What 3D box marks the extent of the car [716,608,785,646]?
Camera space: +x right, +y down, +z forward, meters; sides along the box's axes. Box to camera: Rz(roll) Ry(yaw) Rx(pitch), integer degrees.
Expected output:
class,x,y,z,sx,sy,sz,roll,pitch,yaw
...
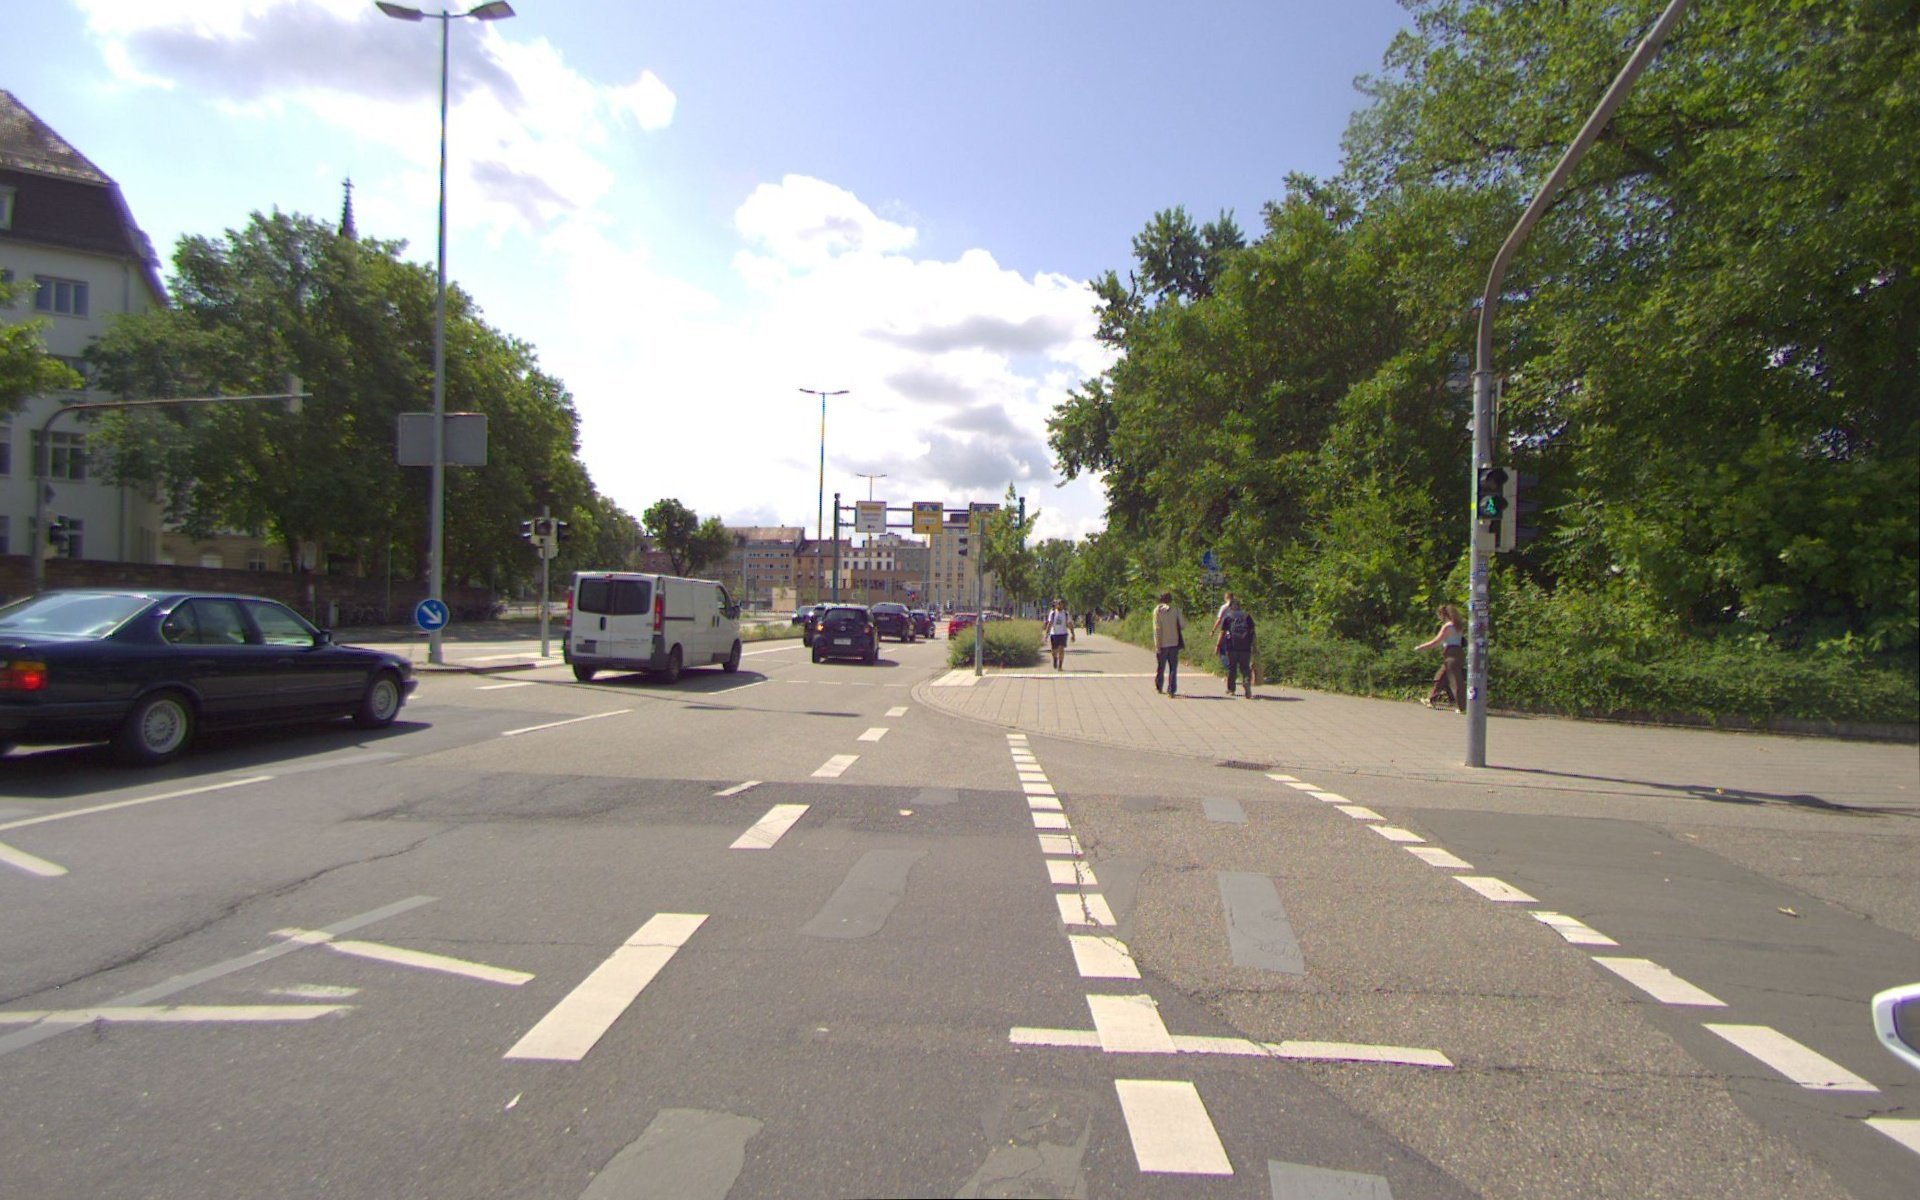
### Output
class,x,y,z,sx,sy,sz,roll,pitch,yaw
car,-8.808,1.134,42.518,1.718,1.491,3.807,2,-1,6

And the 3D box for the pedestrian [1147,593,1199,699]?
class,x,y,z,sx,sy,sz,roll,pitch,yaw
pedestrian,3.641,0.754,17.203,0.781,1.727,1.183,2,0,11

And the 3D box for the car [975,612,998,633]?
class,x,y,z,sx,sy,sz,roll,pitch,yaw
car,1.983,1.636,74.769,1.584,1.430,3.518,3,0,3

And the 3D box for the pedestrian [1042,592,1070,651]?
class,x,y,z,sx,sy,sz,roll,pitch,yaw
pedestrian,3.148,0.715,33.133,0.824,1.893,1.019,1,0,1

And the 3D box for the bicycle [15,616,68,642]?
class,x,y,z,sx,sy,sz,roll,pitch,yaw
bicycle,-25.940,0.824,28.387,0.994,0.691,0.406,3,-1,-25

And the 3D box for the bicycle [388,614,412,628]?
class,x,y,z,sx,sy,sz,roll,pitch,yaw
bicycle,-28.264,1.063,50.721,0.999,0.691,0.404,4,-1,-38

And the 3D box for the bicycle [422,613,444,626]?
class,x,y,z,sx,sy,sz,roll,pitch,yaw
bicycle,-29.260,1.094,55.813,0.999,0.691,0.404,4,-1,-38

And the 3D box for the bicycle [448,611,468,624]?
class,x,y,z,sx,sy,sz,roll,pitch,yaw
bicycle,-30.202,1.061,60.418,0.999,0.691,0.404,4,-1,-38

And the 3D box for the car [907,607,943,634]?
class,x,y,z,sx,sy,sz,roll,pitch,yaw
car,-1.865,1.079,54.217,1.584,1.343,3.518,2,0,3

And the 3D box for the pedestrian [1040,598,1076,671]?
class,x,y,z,sx,sy,sz,roll,pitch,yaw
pedestrian,2.358,0.823,24.317,0.837,1.723,0.932,0,-1,3

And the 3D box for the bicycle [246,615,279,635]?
class,x,y,z,sx,sy,sz,roll,pitch,yaw
bicycle,-26.548,0.951,38.218,0.999,0.691,0.404,4,-1,-38

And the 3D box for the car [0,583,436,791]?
class,x,y,z,sx,sy,sz,roll,pitch,yaw
car,-7.015,0.602,9.240,1.663,1.405,4.616,2,0,4

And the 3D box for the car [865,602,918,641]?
class,x,y,z,sx,sy,sz,roll,pitch,yaw
car,-3.043,0.956,45.358,1.796,1.622,4.395,2,-1,3

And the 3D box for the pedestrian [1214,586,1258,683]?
class,x,y,z,sx,sy,sz,roll,pitch,yaw
pedestrian,5.418,0.670,19.743,0.659,1.845,0.703,2,1,3

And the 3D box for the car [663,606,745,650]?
class,x,y,z,sx,sy,sz,roll,pitch,yaw
car,-9.404,1.020,37.203,1.718,1.491,3.807,2,-1,6

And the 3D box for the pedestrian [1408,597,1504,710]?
class,x,y,z,sx,sy,sz,roll,pitch,yaw
pedestrian,7.589,0.782,15.400,0.844,1.648,1.016,0,1,-19

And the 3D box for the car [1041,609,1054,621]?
class,x,y,z,sx,sy,sz,roll,pitch,yaw
car,14.766,2.579,169.631,1.911,1.989,3.953,3,-1,7

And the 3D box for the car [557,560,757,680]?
class,x,y,z,sx,sy,sz,roll,pitch,yaw
car,-5.773,0.368,19.968,1.972,1.981,5.196,3,0,4

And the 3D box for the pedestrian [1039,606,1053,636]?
class,x,y,z,sx,sy,sz,roll,pitch,yaw
pedestrian,5.857,1.408,68.450,0.824,1.995,0.861,1,0,1

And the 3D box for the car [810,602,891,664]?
class,x,y,z,sx,sy,sz,roll,pitch,yaw
car,-2.889,0.839,27.179,1.584,1.504,3.518,2,0,3

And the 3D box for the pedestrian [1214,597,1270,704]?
class,x,y,z,sx,sy,sz,roll,pitch,yaw
pedestrian,4.787,0.832,17.125,0.781,1.727,1.183,2,0,11

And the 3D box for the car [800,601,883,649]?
class,x,y,z,sx,sy,sz,roll,pitch,yaw
car,-4.181,0.851,36.267,1.983,1.550,4.889,2,0,5

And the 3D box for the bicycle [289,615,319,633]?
class,x,y,z,sx,sy,sz,roll,pitch,yaw
bicycle,-27.098,0.990,41.496,0.999,0.691,0.404,4,-1,-38

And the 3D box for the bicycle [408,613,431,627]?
class,x,y,z,sx,sy,sz,roll,pitch,yaw
bicycle,-28.885,1.079,53.708,0.999,0.691,0.404,4,-1,-38

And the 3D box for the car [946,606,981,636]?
class,x,y,z,sx,sy,sz,roll,pitch,yaw
car,0.216,1.072,52.728,1.584,1.430,3.518,2,0,3

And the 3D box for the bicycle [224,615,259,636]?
class,x,y,z,sx,sy,sz,roll,pitch,yaw
bicycle,-26.421,0.937,36.927,0.999,0.691,0.404,4,-1,-38

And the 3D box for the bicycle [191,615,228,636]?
class,x,y,z,sx,sy,sz,roll,pitch,yaw
bicycle,-26.363,0.914,35.298,0.999,0.691,0.404,4,-1,-38

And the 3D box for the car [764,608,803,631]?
class,x,y,z,sx,sy,sz,roll,pitch,yaw
car,-12.561,1.385,71.840,1.718,1.491,3.807,2,-1,6

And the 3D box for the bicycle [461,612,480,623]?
class,x,y,z,sx,sy,sz,roll,pitch,yaw
bicycle,-31.396,1.121,64.403,0.999,0.691,0.404,4,-1,-38

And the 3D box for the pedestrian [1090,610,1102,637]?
class,x,y,z,sx,sy,sz,roll,pitch,yaw
pedestrian,9.914,1.686,73.151,0.497,1.915,0.556,3,-1,-30

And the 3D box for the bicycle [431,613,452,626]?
class,x,y,z,sx,sy,sz,roll,pitch,yaw
bicycle,-29.564,1.101,57.264,0.999,0.691,0.404,4,-1,-38

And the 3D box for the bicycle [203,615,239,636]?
class,x,y,z,sx,sy,sz,roll,pitch,yaw
bicycle,-26.420,0.921,35.919,0.999,0.691,0.404,4,-1,-38

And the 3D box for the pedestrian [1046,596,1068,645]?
class,x,y,z,sx,sy,sz,roll,pitch,yaw
pedestrian,4.043,0.848,42.095,0.824,1.995,0.861,1,0,1

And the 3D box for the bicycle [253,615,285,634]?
class,x,y,z,sx,sy,sz,roll,pitch,yaw
bicycle,-26.803,0.943,38.967,0.999,0.691,0.404,4,-1,-38

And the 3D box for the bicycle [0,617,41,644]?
class,x,y,z,sx,sy,sz,roll,pitch,yaw
bicycle,-25.651,0.821,27.215,0.994,0.691,0.406,3,-1,-25
